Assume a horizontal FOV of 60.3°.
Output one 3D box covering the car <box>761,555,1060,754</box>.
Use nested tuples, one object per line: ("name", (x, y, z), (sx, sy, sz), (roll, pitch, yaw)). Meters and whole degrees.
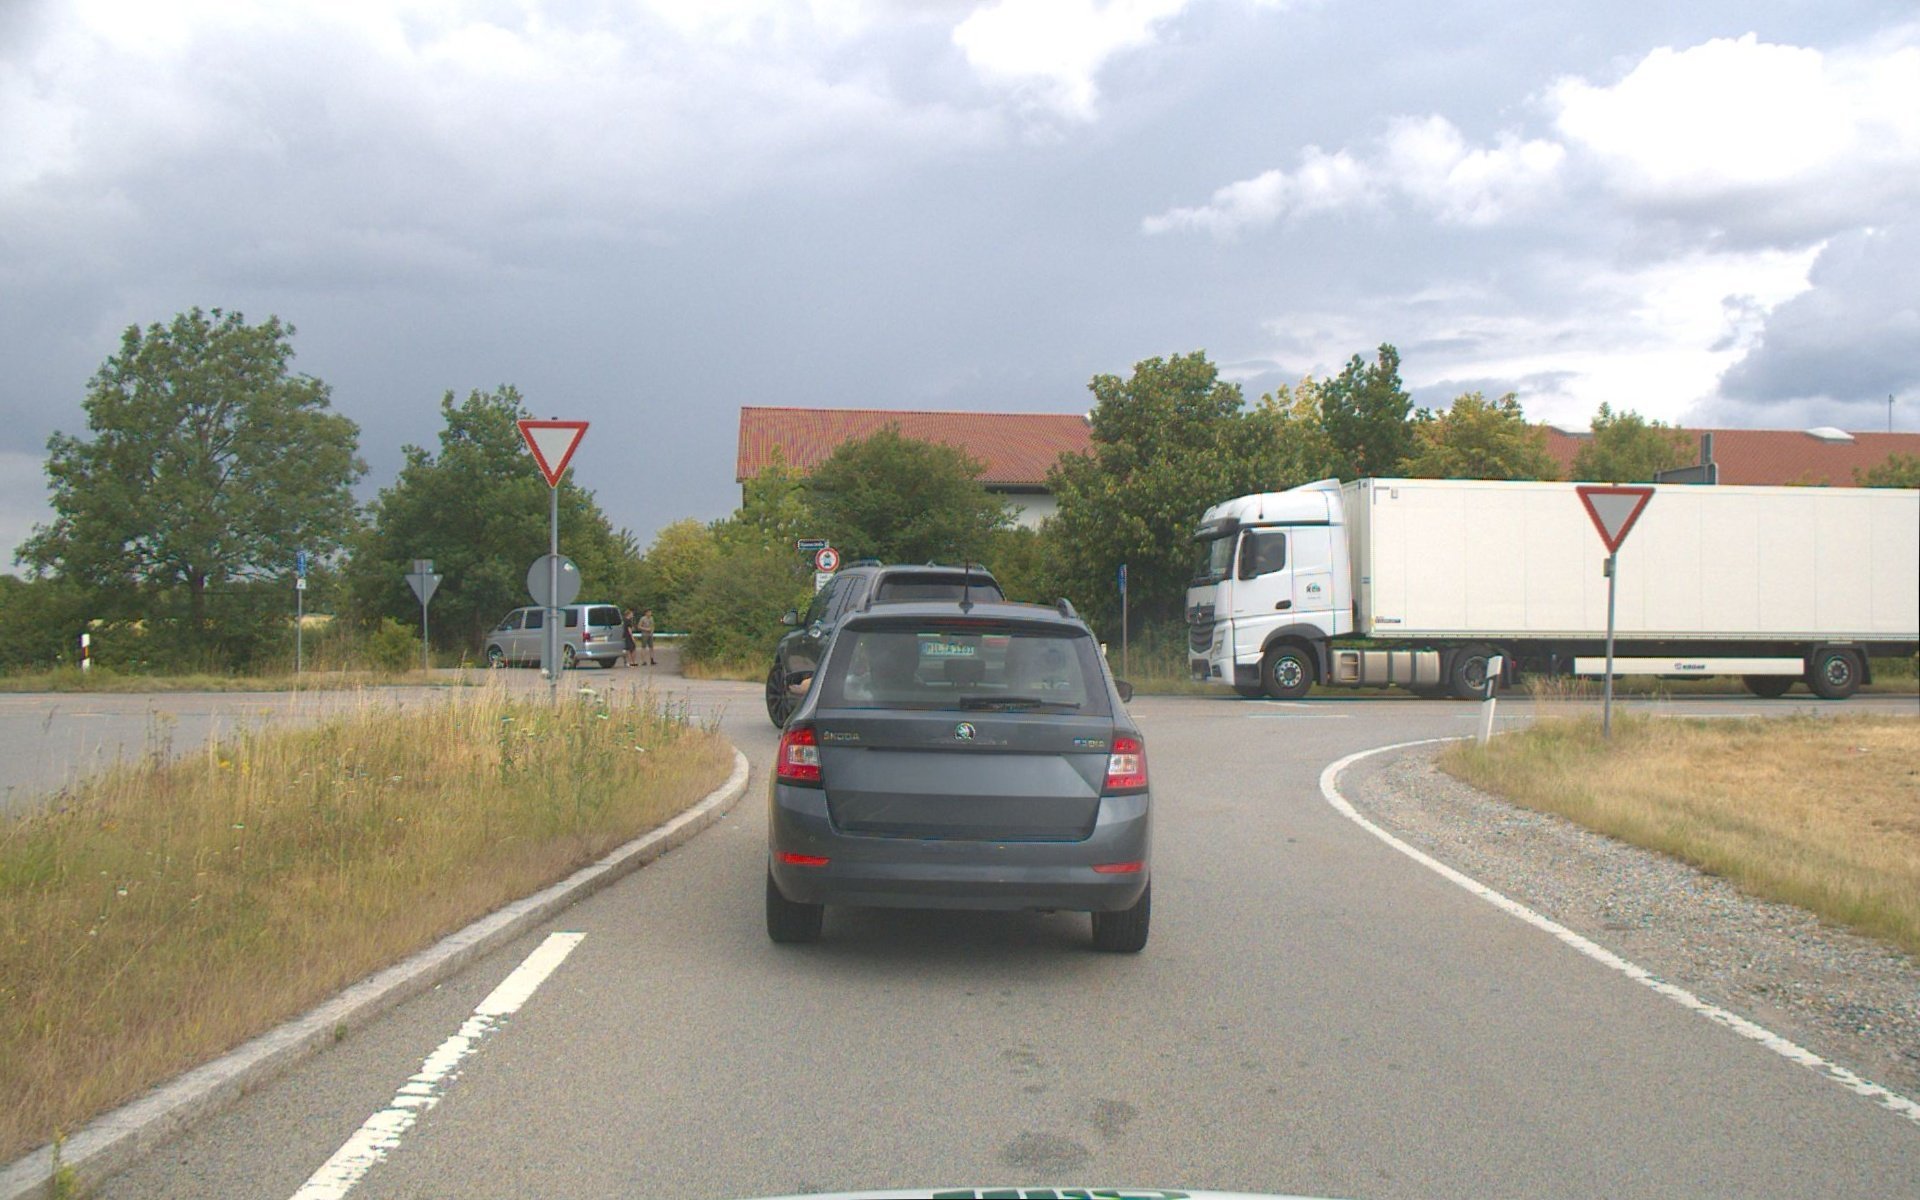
("car", (-0.693, 0.538, 17.530), (1.963, 1.806, 4.620), (1, -1, -18))

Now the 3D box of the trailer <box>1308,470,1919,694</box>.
("trailer", (13.929, -0.256, 32.660), (13.580, 4.085, 3.123), (0, -2, -8))

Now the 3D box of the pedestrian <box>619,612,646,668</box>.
("pedestrian", (-10.427, 1.279, 52.636), (0.519, 1.756, 0.640), (0, 0, 31))

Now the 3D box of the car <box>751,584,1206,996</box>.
("car", (-0.019, 0.686, 7.909), (1.643, 1.488, 3.705), (1, 0, -3))

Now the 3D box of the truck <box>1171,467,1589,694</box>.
("truck", (7.934, -0.292, 31.809), (7.146, 4.085, 3.123), (0, -2, -8))

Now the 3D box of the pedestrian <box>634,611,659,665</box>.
("pedestrian", (-10.261, 1.238, 54.130), (0.554, 1.712, 0.584), (0, 0, 32))

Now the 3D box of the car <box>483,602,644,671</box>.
("car", (-12.708, 1.121, 52.916), (4.810, 2.049, 2.336), (0, 1, 32))
